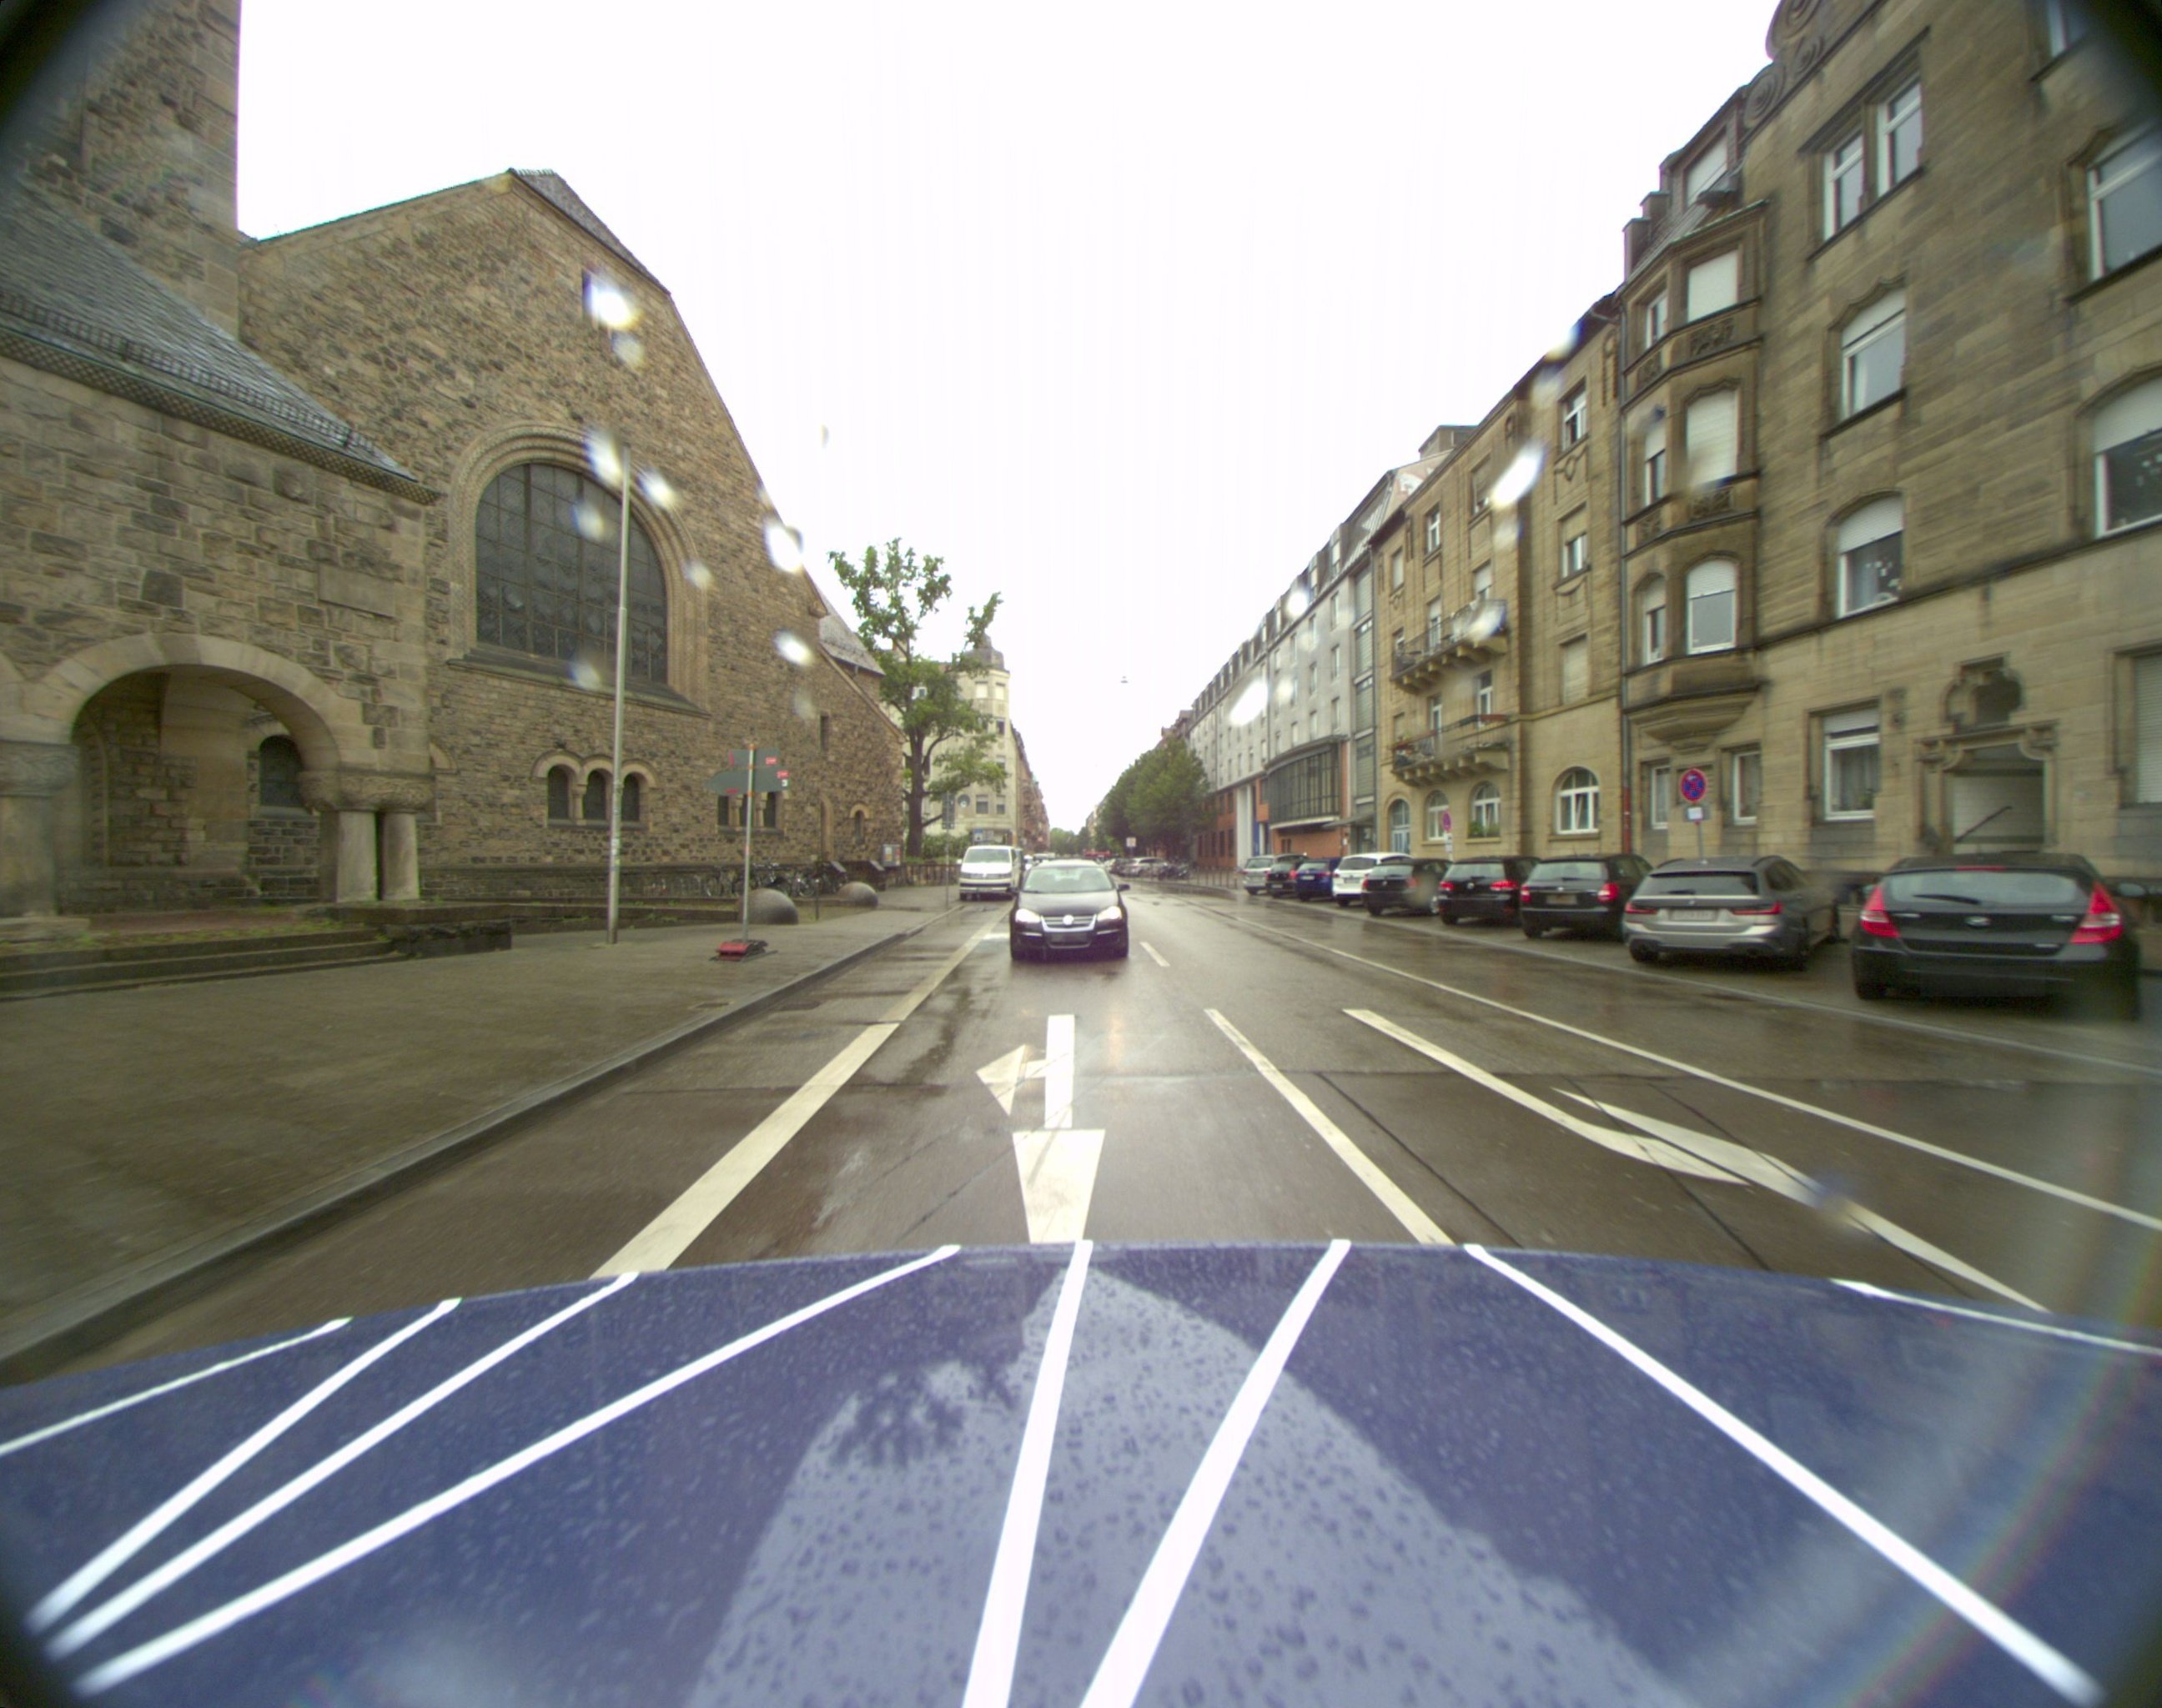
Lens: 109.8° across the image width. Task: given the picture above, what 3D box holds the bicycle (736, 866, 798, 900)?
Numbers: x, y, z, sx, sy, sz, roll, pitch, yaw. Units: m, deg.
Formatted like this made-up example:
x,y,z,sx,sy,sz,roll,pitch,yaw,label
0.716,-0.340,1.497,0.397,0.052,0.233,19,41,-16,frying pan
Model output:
x,y,z,sx,sy,sz,roll,pitch,yaw,label
-10.125,0.926,24.510,1.924,1.054,0.582,0,1,18,bicycle

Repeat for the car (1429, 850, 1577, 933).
x,y,z,sx,sy,sz,roll,pitch,yaw,label
9.425,0.766,16.865,3.766,1.535,1.624,-2,0,-41,car

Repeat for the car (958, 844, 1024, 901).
x,y,z,sx,sy,sz,roll,pitch,yaw,label
-3.258,0.619,28.447,1.909,1.911,5.271,0,0,-1,car

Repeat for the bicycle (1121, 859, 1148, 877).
x,y,z,sx,sy,sz,roll,pitch,yaw,label
3.650,0.981,52.075,1.688,1.067,0.544,-5,1,-4,bicycle

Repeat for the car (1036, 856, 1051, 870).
x,y,z,sx,sy,sz,roll,pitch,yaw,label
-3.571,0.880,73.409,1.356,1.285,3.013,0,0,-1,car

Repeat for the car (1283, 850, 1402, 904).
x,y,z,sx,sy,sz,roll,pitch,yaw,label
8.969,0.728,26.036,3.732,1.519,1.897,-4,2,-32,car

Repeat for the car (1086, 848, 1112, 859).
x,y,z,sx,sy,sz,roll,pitch,yaw,label
3.043,-0.074,127.550,3.809,1.705,1.995,0,0,-34,car

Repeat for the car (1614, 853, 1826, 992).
x,y,z,sx,sy,sz,roll,pitch,yaw,label
9.079,0.832,10.716,3.436,1.535,1.696,-2,0,-40,car

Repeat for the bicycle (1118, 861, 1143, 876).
x,y,z,sx,sy,sz,roll,pitch,yaw,label
3.585,1.053,55.275,1.688,1.066,0.544,2,0,-4,bicycle

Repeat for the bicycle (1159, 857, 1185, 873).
x,y,z,sx,sy,sz,roll,pitch,yaw,label
6.168,0.727,51.378,1.688,1.067,0.544,0,1,-4,bicycle

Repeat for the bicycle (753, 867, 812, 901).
x,y,z,sx,sy,sz,roll,pitch,yaw,label
-9.889,0.972,25.161,1.923,1.054,0.582,0,1,21,bicycle

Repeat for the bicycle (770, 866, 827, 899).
x,y,z,sx,sy,sz,roll,pitch,yaw,label
-9.648,0.952,25.916,1.923,1.054,0.582,0,1,21,bicycle

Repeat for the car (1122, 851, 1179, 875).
x,y,z,sx,sy,sz,roll,pitch,yaw,label
5.380,0.697,58.768,4.006,1.804,1.995,0,0,-27,car

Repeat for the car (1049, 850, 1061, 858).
x,y,z,sx,sy,sz,roll,pitch,yaw,label
-5.407,-0.071,158.261,1.998,1.705,3.803,0,0,3,car

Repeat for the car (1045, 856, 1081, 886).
x,y,z,sx,sy,sz,roll,pitch,yaw,label
-0.917,0.842,38.931,1.766,1.430,3.747,0,0,-1,car

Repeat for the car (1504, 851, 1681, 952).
x,y,z,sx,sy,sz,roll,pitch,yaw,label
9.494,0.788,14.025,3.450,1.535,1.624,-2,0,-37,car

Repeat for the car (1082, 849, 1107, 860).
x,y,z,sx,sy,sz,roll,pitch,yaw,label
2.037,0.121,117.093,3.799,1.705,2.000,0,0,0,car

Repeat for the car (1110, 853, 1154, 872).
x,y,z,sx,sy,sz,roll,pitch,yaw,label
4.845,0.794,72.138,3.803,1.705,1.998,0,0,-11,car

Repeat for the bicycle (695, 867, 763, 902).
x,y,z,sx,sy,sz,roll,pitch,yaw,label
-10.827,0.925,23.365,2.005,1.043,0.577,0,1,16,bicycle

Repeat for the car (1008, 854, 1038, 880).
x,y,z,sx,sy,sz,roll,pitch,yaw,label
-3.633,0.808,48.355,1.675,1.540,3.918,0,0,-1,car

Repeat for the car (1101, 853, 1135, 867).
x,y,z,sx,sy,sz,roll,pitch,yaw,label
4.437,0.699,91.383,3.803,1.705,1.904,0,0,-11,car

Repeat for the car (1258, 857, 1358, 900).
x,y,z,sx,sy,sz,roll,pitch,yaw,label
8.596,0.879,28.664,3.734,1.518,1.713,0,0,-36,car

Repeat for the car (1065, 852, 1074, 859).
x,y,z,sx,sy,sz,roll,pitch,yaw,label
-2.855,0.320,194.480,1.998,1.705,4.375,0,0,3,car

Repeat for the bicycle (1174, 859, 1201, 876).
x,y,z,sx,sy,sz,roll,pitch,yaw,label
7.107,0.886,50.630,1.688,1.067,0.544,-3,1,-4,bicycle

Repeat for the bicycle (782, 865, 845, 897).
x,y,z,sx,sy,sz,roll,pitch,yaw,label
-9.387,0.923,26.615,2.151,1.054,0.679,0,1,21,bicycle

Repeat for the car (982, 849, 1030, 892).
x,y,z,sx,sy,sz,roll,pitch,yaw,label
-3.364,0.715,34.972,1.837,1.835,4.295,0,0,-1,car

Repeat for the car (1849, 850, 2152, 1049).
x,y,z,sx,sy,sz,roll,pitch,yaw,label
9.391,0.789,7.852,3.317,1.516,1.696,-2,0,-39,car

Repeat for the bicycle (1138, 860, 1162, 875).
x,y,z,sx,sy,sz,roll,pitch,yaw,label
4.935,0.970,54.356,1.688,1.067,0.544,-1,1,-4,bicycle

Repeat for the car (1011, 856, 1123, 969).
x,y,z,sx,sy,sz,roll,pitch,yaw,label
-0.225,0.817,12.547,1.547,1.553,4.070,0,0,-1,car

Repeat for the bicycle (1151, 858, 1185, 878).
x,y,z,sx,sy,sz,roll,pitch,yaw,label
5.675,0.897,49.646,2.049,1.165,0.773,-3,1,-4,bicycle

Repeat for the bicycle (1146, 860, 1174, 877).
x,y,z,sx,sy,sz,roll,pitch,yaw,label
5.251,0.946,50.599,1.688,1.067,0.544,-3,1,-4,bicycle

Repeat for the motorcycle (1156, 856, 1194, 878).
x,y,z,sx,sy,sz,roll,pitch,yaw,label
6.007,0.840,48.684,2.255,1.302,0.758,-2,1,-1,motorcycle

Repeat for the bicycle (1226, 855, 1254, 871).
x,y,z,sx,sy,sz,roll,pitch,yaw,label
12.223,0.688,58.414,1.901,1.217,0.938,0,1,25,bicycle

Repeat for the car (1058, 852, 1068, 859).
x,y,z,sx,sy,sz,roll,pitch,yaw,label
-4.210,0.286,179.740,1.998,1.705,4.375,0,0,3,car

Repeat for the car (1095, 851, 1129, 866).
x,y,z,sx,sy,sz,roll,pitch,yaw,label
4.117,0.593,99.811,4.006,2.002,1.995,0,0,-29,car

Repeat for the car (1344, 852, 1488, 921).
x,y,z,sx,sy,sz,roll,pitch,yaw,label
8.839,0.788,19.959,3.734,1.535,1.774,-2,0,-36,car

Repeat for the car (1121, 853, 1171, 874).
x,y,z,sx,sy,sz,roll,pitch,yaw,label
5.410,0.790,63.486,3.803,1.705,1.998,0,0,-11,car

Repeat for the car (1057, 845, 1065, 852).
x,y,z,sx,sy,sz,roll,pitch,yaw,label
-5.365,-1.356,202.586,1.838,1.827,4.001,0,0,3,car

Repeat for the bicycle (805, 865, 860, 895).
x,y,z,sx,sy,sz,roll,pitch,yaw,label
-8.958,0.926,27.385,1.978,1.060,0.607,0,1,21,bicycle

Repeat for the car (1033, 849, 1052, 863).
x,y,z,sx,sy,sz,roll,pitch,yaw,label
-4.011,0.202,80.465,1.922,1.470,4.220,0,0,-2,car

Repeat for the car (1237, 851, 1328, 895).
x,y,z,sx,sy,sz,roll,pitch,yaw,label
8.448,0.729,31.741,3.931,1.719,1.811,0,0,-42,car

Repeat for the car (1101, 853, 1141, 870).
x,y,z,sx,sy,sz,roll,pitch,yaw,label
4.185,0.793,79.431,3.803,1.705,1.998,0,0,-11,car

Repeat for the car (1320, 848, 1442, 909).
x,y,z,sx,sy,sz,roll,pitch,yaw,label
9.210,0.699,23.226,3.734,1.617,1.774,-2,0,-39,car

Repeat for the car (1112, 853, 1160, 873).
x,y,z,sx,sy,sz,roll,pitch,yaw,label
4.827,0.810,66.549,3.803,1.705,1.998,0,0,-11,car
